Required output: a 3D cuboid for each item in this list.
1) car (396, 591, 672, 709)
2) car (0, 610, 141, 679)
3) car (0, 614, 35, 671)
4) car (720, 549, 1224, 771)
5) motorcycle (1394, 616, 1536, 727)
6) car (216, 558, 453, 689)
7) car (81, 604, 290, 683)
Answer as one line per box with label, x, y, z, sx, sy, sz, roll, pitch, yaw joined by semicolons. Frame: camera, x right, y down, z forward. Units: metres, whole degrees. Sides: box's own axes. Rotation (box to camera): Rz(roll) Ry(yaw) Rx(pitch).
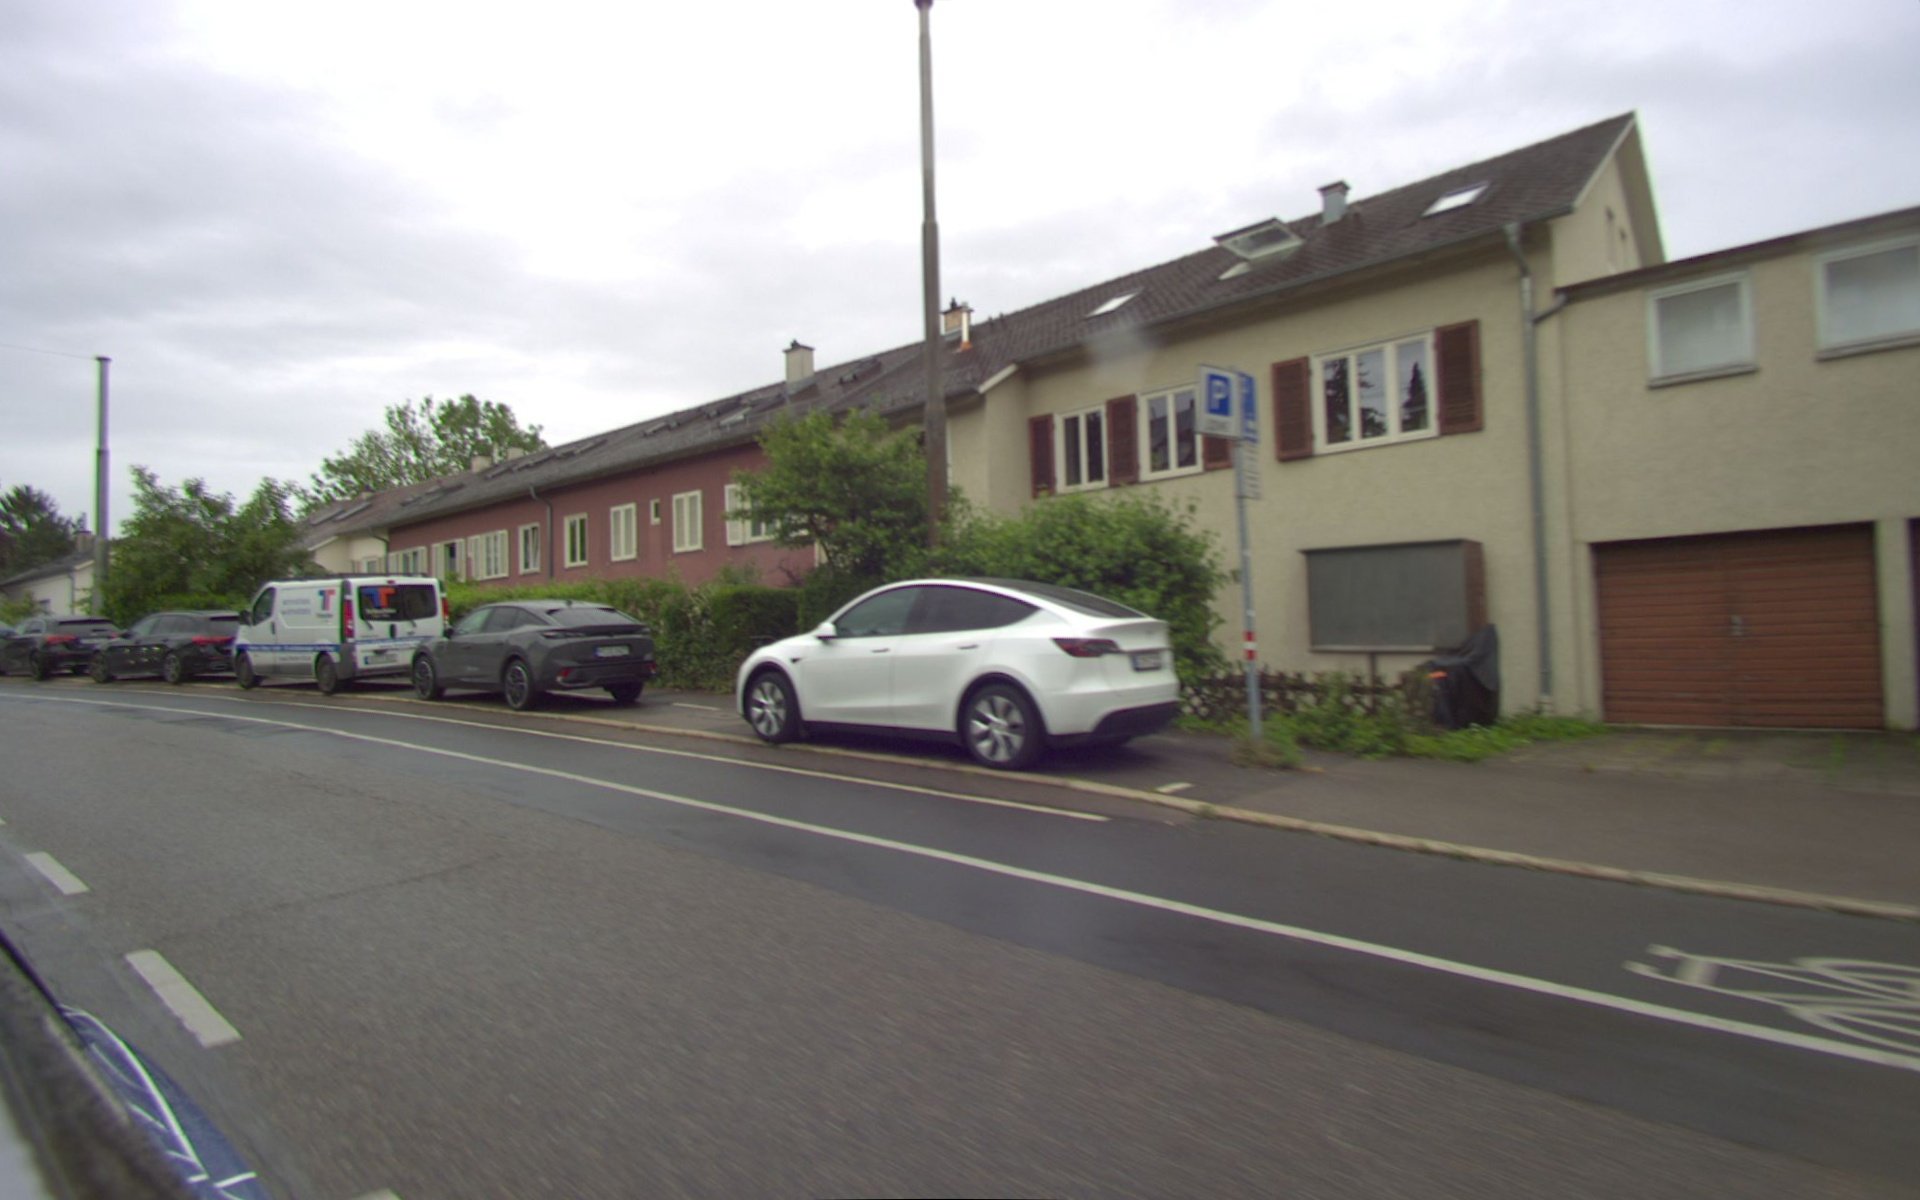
car;-6.360;0.659;14.886;4.516;1.488;1.791;-1;-1;38
car;-21.375;1.009;23.877;4.506;1.488;1.795;-1;-1;31
car;-26.252;1.134;26.158;4.441;1.415;1.692;-1;0;22
car;-0.066;0.471;9.711;4.672;1.643;1.910;-1;-1;39
motorcycle;5.890;0.773;11.745;2.069;1.143;0.840;0;1;-44
car;-11.494;0.413;18.468;5.008;2.094;1.833;-1;-1;35
car;-16.167;0.856;21.074;4.501;1.488;1.797;-1;-1;28
